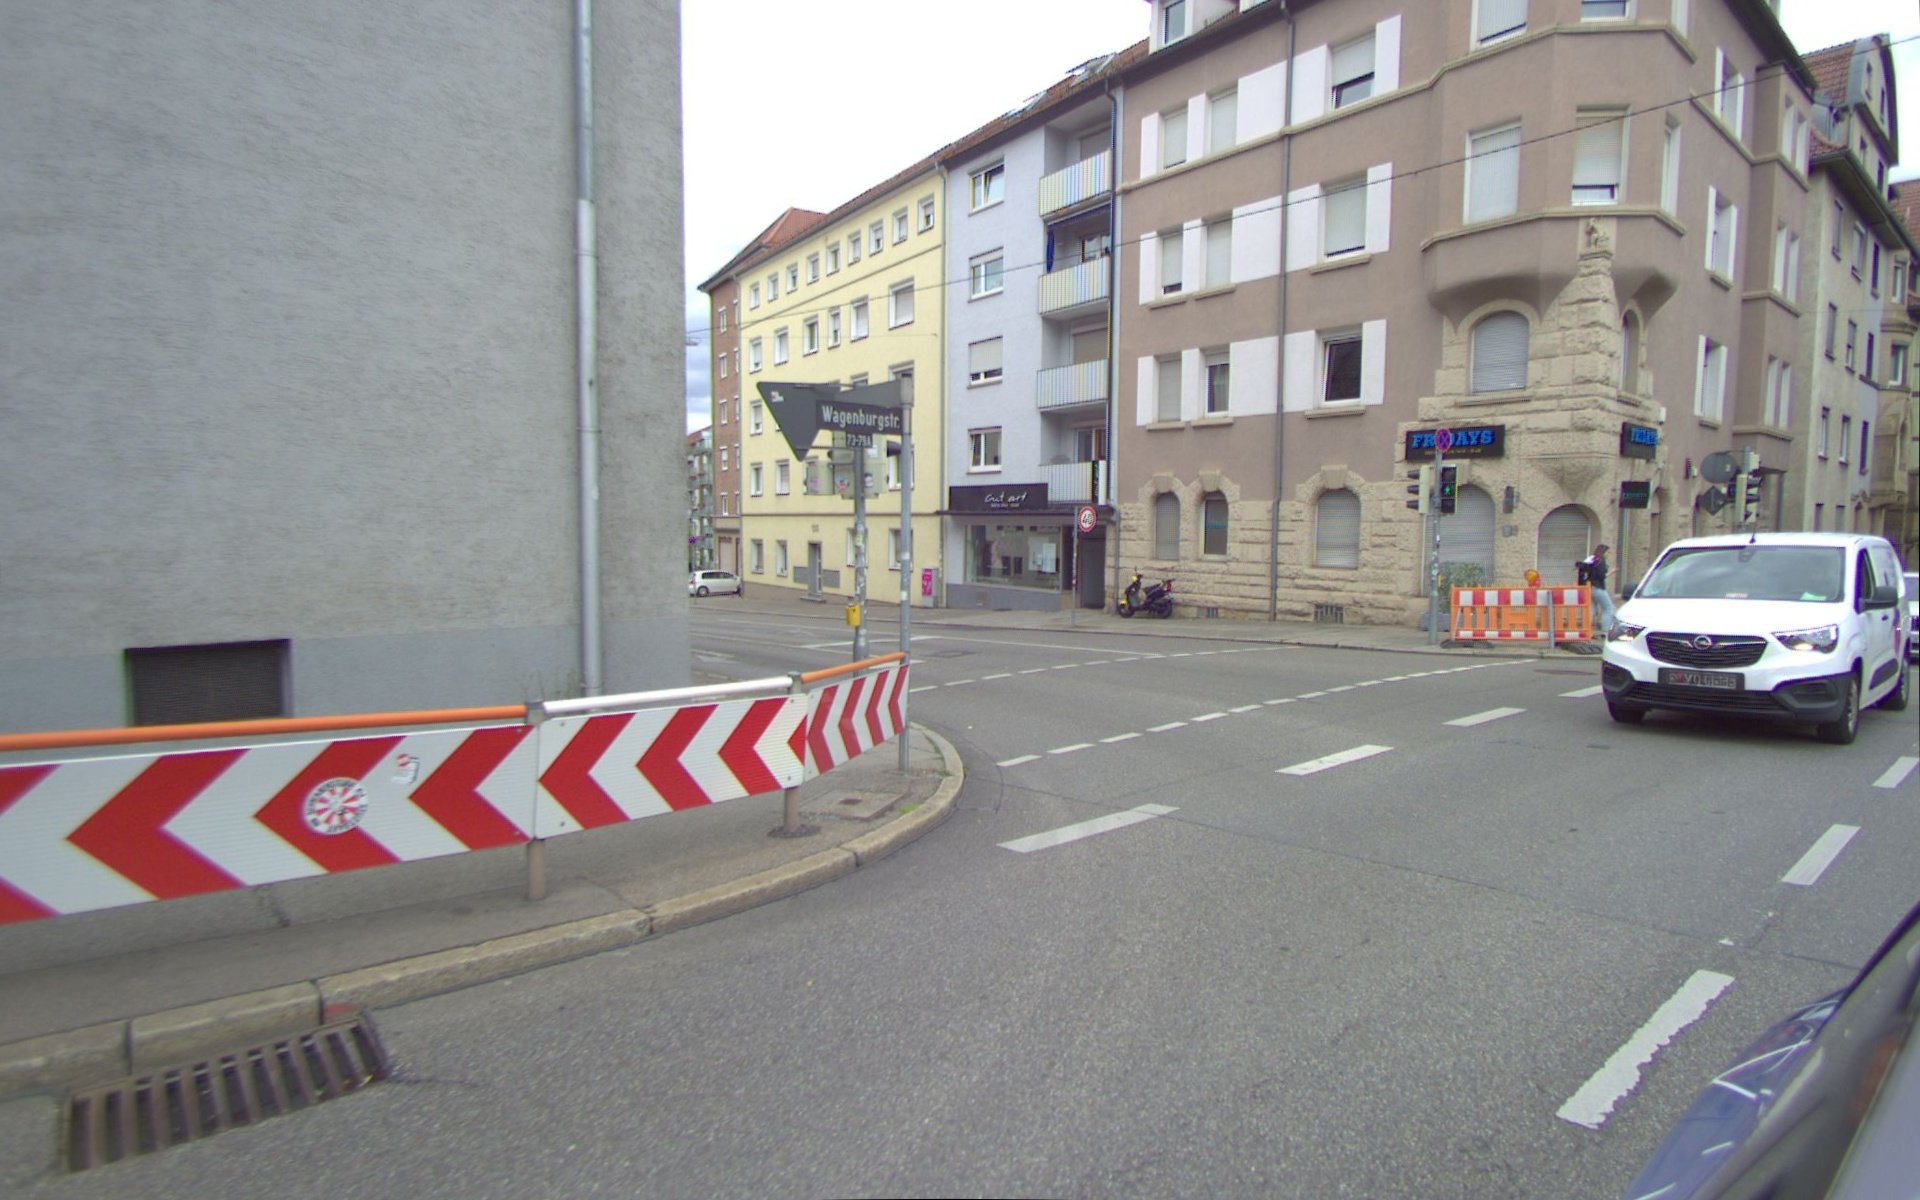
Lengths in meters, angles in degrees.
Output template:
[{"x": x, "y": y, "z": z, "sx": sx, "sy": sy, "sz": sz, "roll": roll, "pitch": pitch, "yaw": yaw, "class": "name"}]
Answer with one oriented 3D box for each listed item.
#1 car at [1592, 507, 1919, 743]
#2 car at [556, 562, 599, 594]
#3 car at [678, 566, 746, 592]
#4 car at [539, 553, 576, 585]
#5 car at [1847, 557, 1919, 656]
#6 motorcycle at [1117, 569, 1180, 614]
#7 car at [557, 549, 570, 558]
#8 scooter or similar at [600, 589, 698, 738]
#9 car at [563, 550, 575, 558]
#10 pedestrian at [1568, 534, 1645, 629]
[{"x": 8.110, "y": 0.120, "z": 9.970, "sx": 4.758, "sy": 1.811, "sz": 1.788, "roll": -1, "pitch": 2, "yaw": -40, "class": "car"}, {"x": -25.708, "y": -1.499, "z": 68.021, "sx": 1.833, "sy": 1.882, "sz": 4.004, "roll": 1, "pitch": 4, "yaw": -33, "class": "car"}, {"x": -14.216, "y": -1.191, "z": 58.018, "sx": 3.428, "sy": 1.415, "sz": 1.781, "roll": 0, "pitch": 1, "yaw": -30, "class": "car"}, {"x": -30.999, "y": -2.421, "z": 77.903, "sx": 1.833, "sy": 2.257, "sz": 4.004, "roll": 1, "pitch": 4, "yaw": -33, "class": "car"}, {"x": 17.333, "y": 0.120, "z": 18.048, "sx": 4.091, "sy": 1.628, "sz": 1.778, "roll": 1, "pitch": 0, "yaw": -42, "class": "car"}, {"x": 4.879, "y": -0.240, "z": 26.286, "sx": 0.505, "sy": 1.095, "sz": 1.683, "roll": -4, "pitch": 4, "yaw": -38, "class": "motorcycle"}, {"x": -75.123, "y": -8.817, "z": 191.801, "sx": 1.837, "sy": 1.555, "sz": 4.009, "roll": 0, "pitch": 1, "yaw": -17, "class": "car"}, {"x": -2.793, "y": 0.535, "z": 9.182, "sx": 0.589, "sy": 1.231, "sz": 1.257, "roll": 0, "pitch": 2, "yaw": -4, "class": "scooter or similar"}, {"x": -77.459, "y": -9.162, "z": 200.531, "sx": 1.837, "sy": 1.555, "sz": 4.009, "roll": 0, "pitch": 1, "yaw": -16, "class": "car"}, {"x": 11.656, "y": -0.345, "z": 18.278, "sx": 0.993, "sy": 1.668, "sz": 0.730, "roll": 2, "pitch": 1, "yaw": 22, "class": "pedestrian"}]
